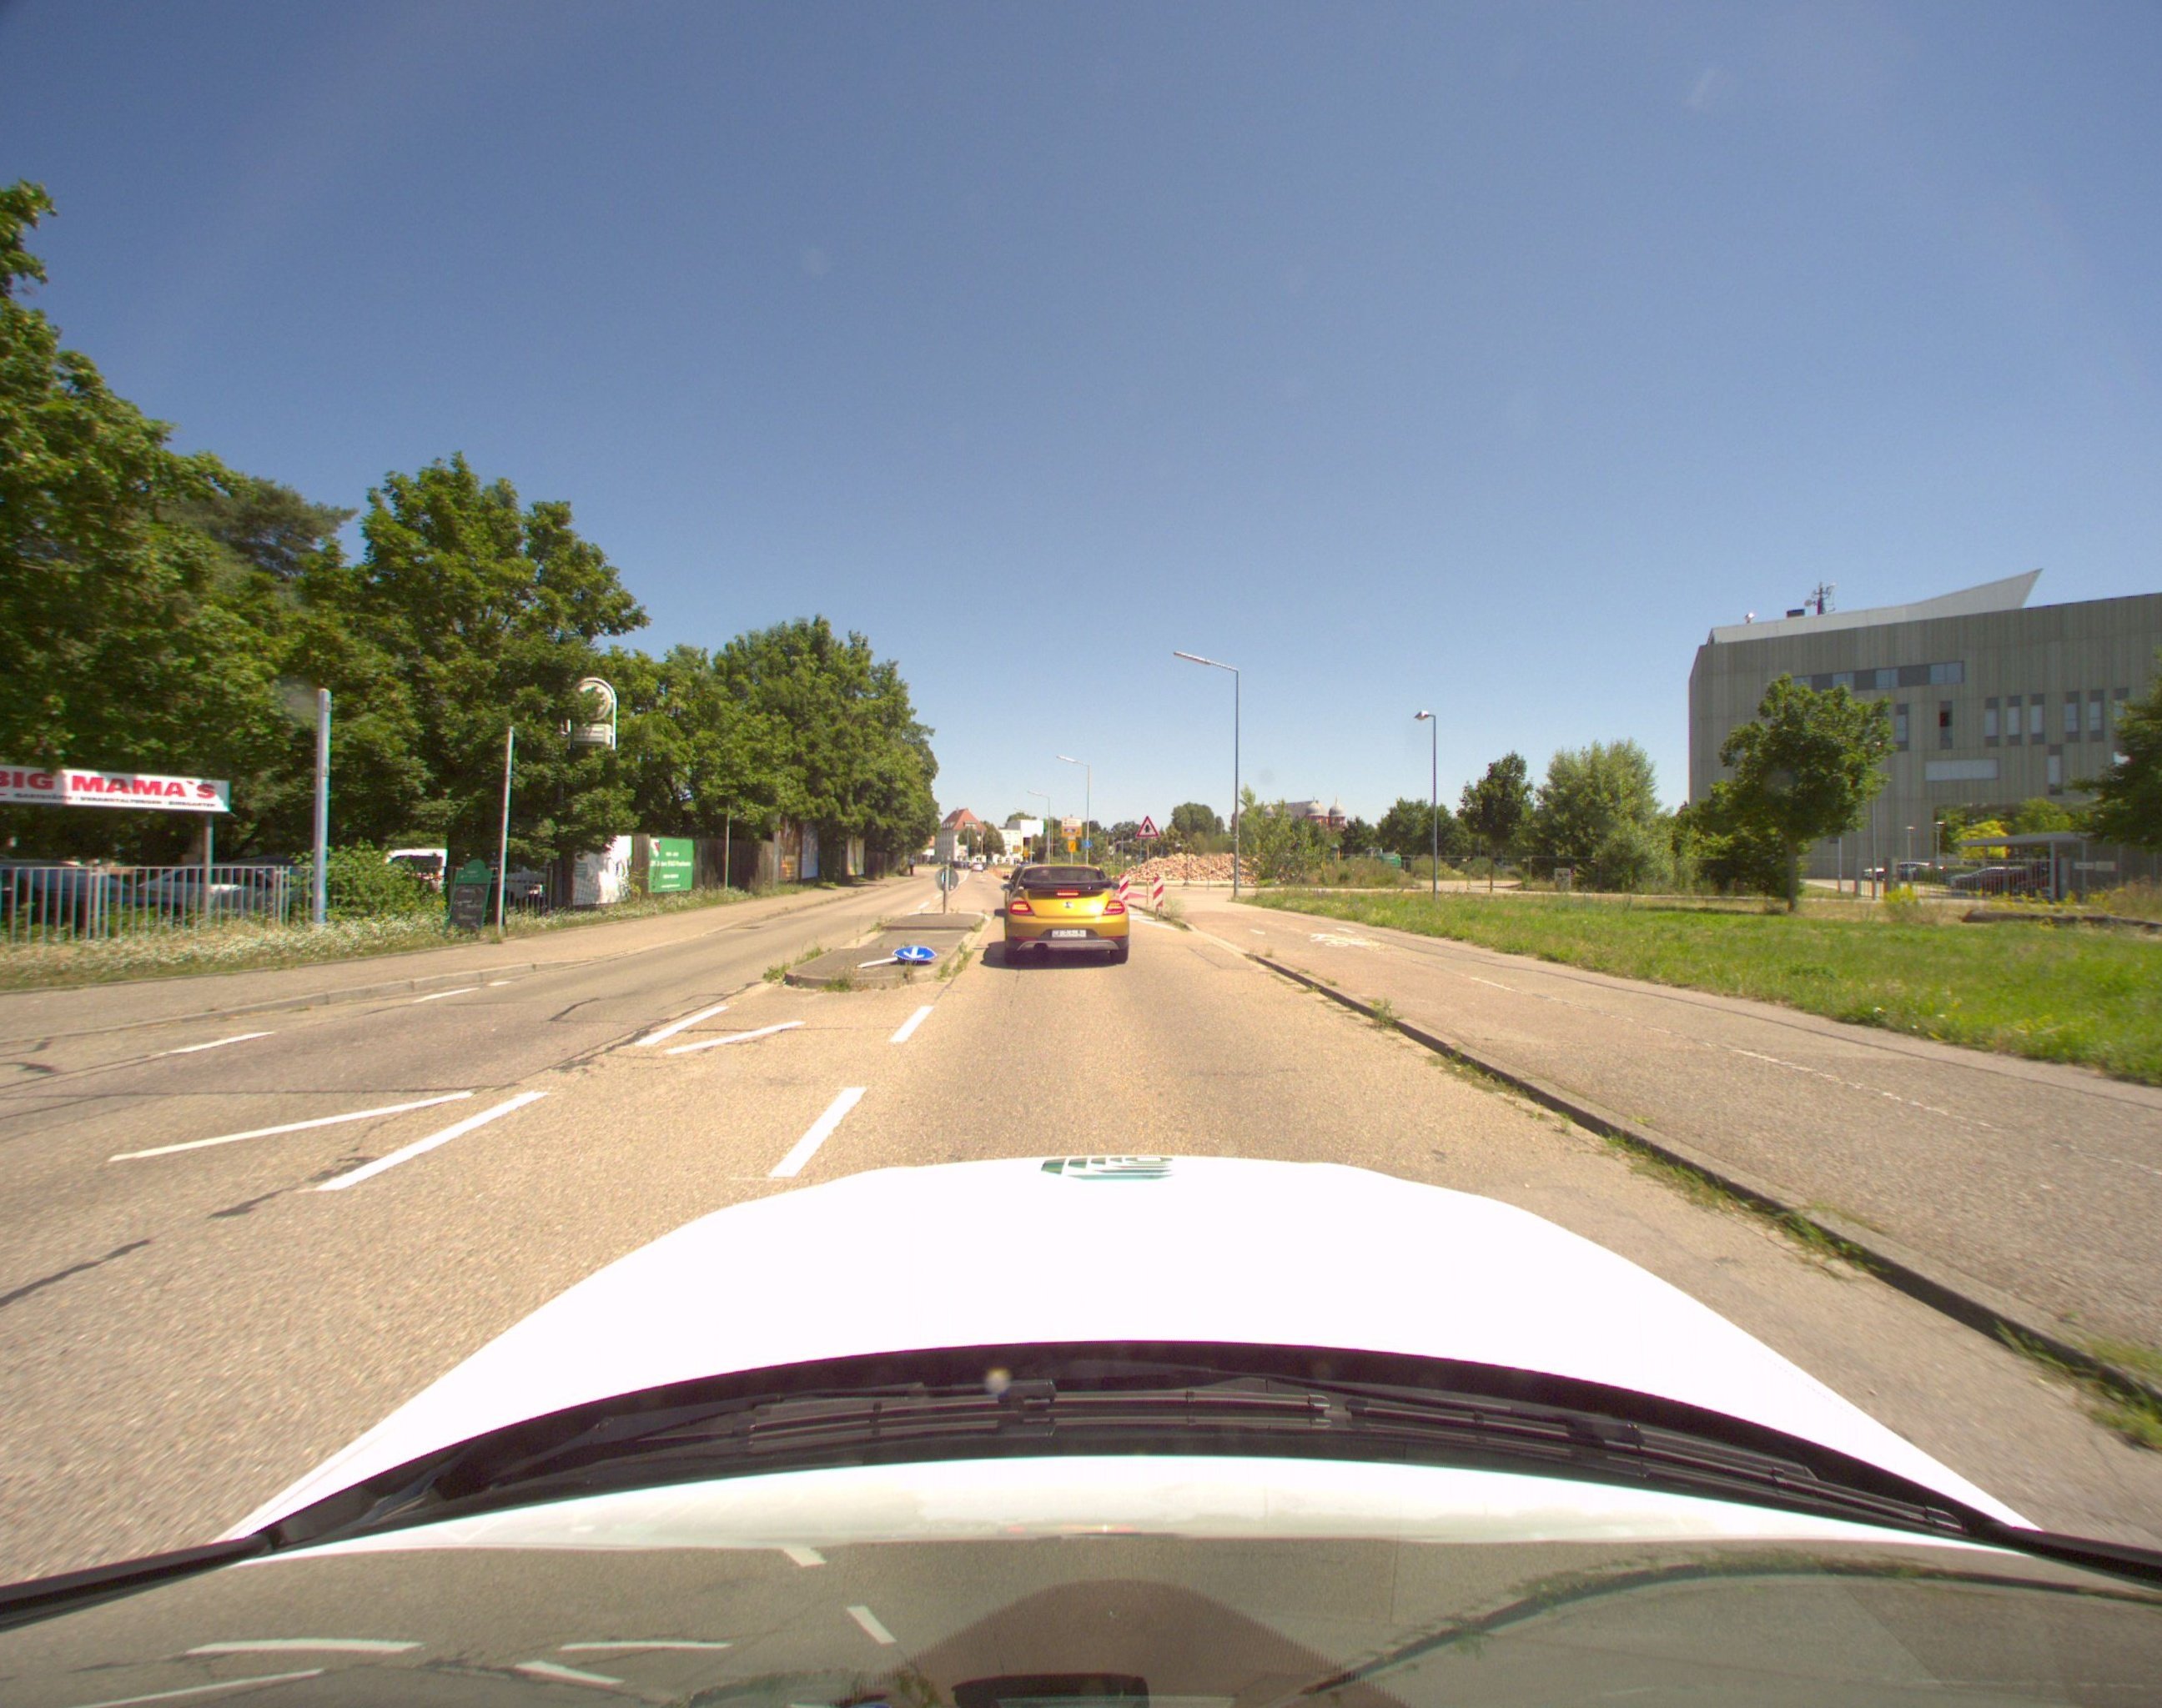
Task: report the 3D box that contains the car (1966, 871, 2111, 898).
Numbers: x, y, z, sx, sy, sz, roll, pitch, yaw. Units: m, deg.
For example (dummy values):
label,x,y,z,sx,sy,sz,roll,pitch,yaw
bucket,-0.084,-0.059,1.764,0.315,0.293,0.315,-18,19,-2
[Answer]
label,x,y,z,sx,sy,sz,roll,pitch,yaw
car,54.867,1.703,46.825,5.014,1.436,2.013,0,-1,33

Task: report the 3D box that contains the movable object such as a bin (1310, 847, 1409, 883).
label,x,y,z,sx,sy,sz,roll,pitch,yaw
movable object such as a bin,27.048,1.099,80.005,4.938,3.260,10.435,1,-1,-9

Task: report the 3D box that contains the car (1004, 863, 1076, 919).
label,x,y,z,sx,sy,sz,roll,pitch,yaw
car,-1.250,1.000,23.097,1.725,1.443,3.989,0,-1,-7

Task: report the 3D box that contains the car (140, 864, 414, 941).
label,x,y,z,sx,sy,sz,roll,pitch,yaw
car,-17.010,0.994,17.414,3.856,1.526,1.807,0,-1,-5

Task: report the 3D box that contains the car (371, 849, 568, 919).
label,x,y,z,sx,sy,sz,roll,pitch,yaw
car,-18.037,0.874,24.199,4.301,1.977,1.778,0,-1,-7

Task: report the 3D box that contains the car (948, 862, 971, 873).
label,x,y,z,sx,sy,sz,roll,pitch,yaw
car,-22.558,2.551,150.950,3.973,2.014,2.000,0,-1,0

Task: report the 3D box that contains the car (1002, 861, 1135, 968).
label,x,y,z,sx,sy,sz,roll,pitch,yaw
car,-0.297,0.833,12.918,1.787,1.437,3.808,0,-1,-4

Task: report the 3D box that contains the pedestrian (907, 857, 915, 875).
label,x,y,z,sx,sy,sz,roll,pitch,yaw
pedestrian,-16.181,1.109,77.489,0.723,1.725,0.815,1,-1,-12

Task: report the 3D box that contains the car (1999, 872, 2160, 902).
label,x,y,z,sx,sy,sz,roll,pitch,yaw
car,50.928,1.646,41.725,4.854,1.436,2.012,-1,-1,38
